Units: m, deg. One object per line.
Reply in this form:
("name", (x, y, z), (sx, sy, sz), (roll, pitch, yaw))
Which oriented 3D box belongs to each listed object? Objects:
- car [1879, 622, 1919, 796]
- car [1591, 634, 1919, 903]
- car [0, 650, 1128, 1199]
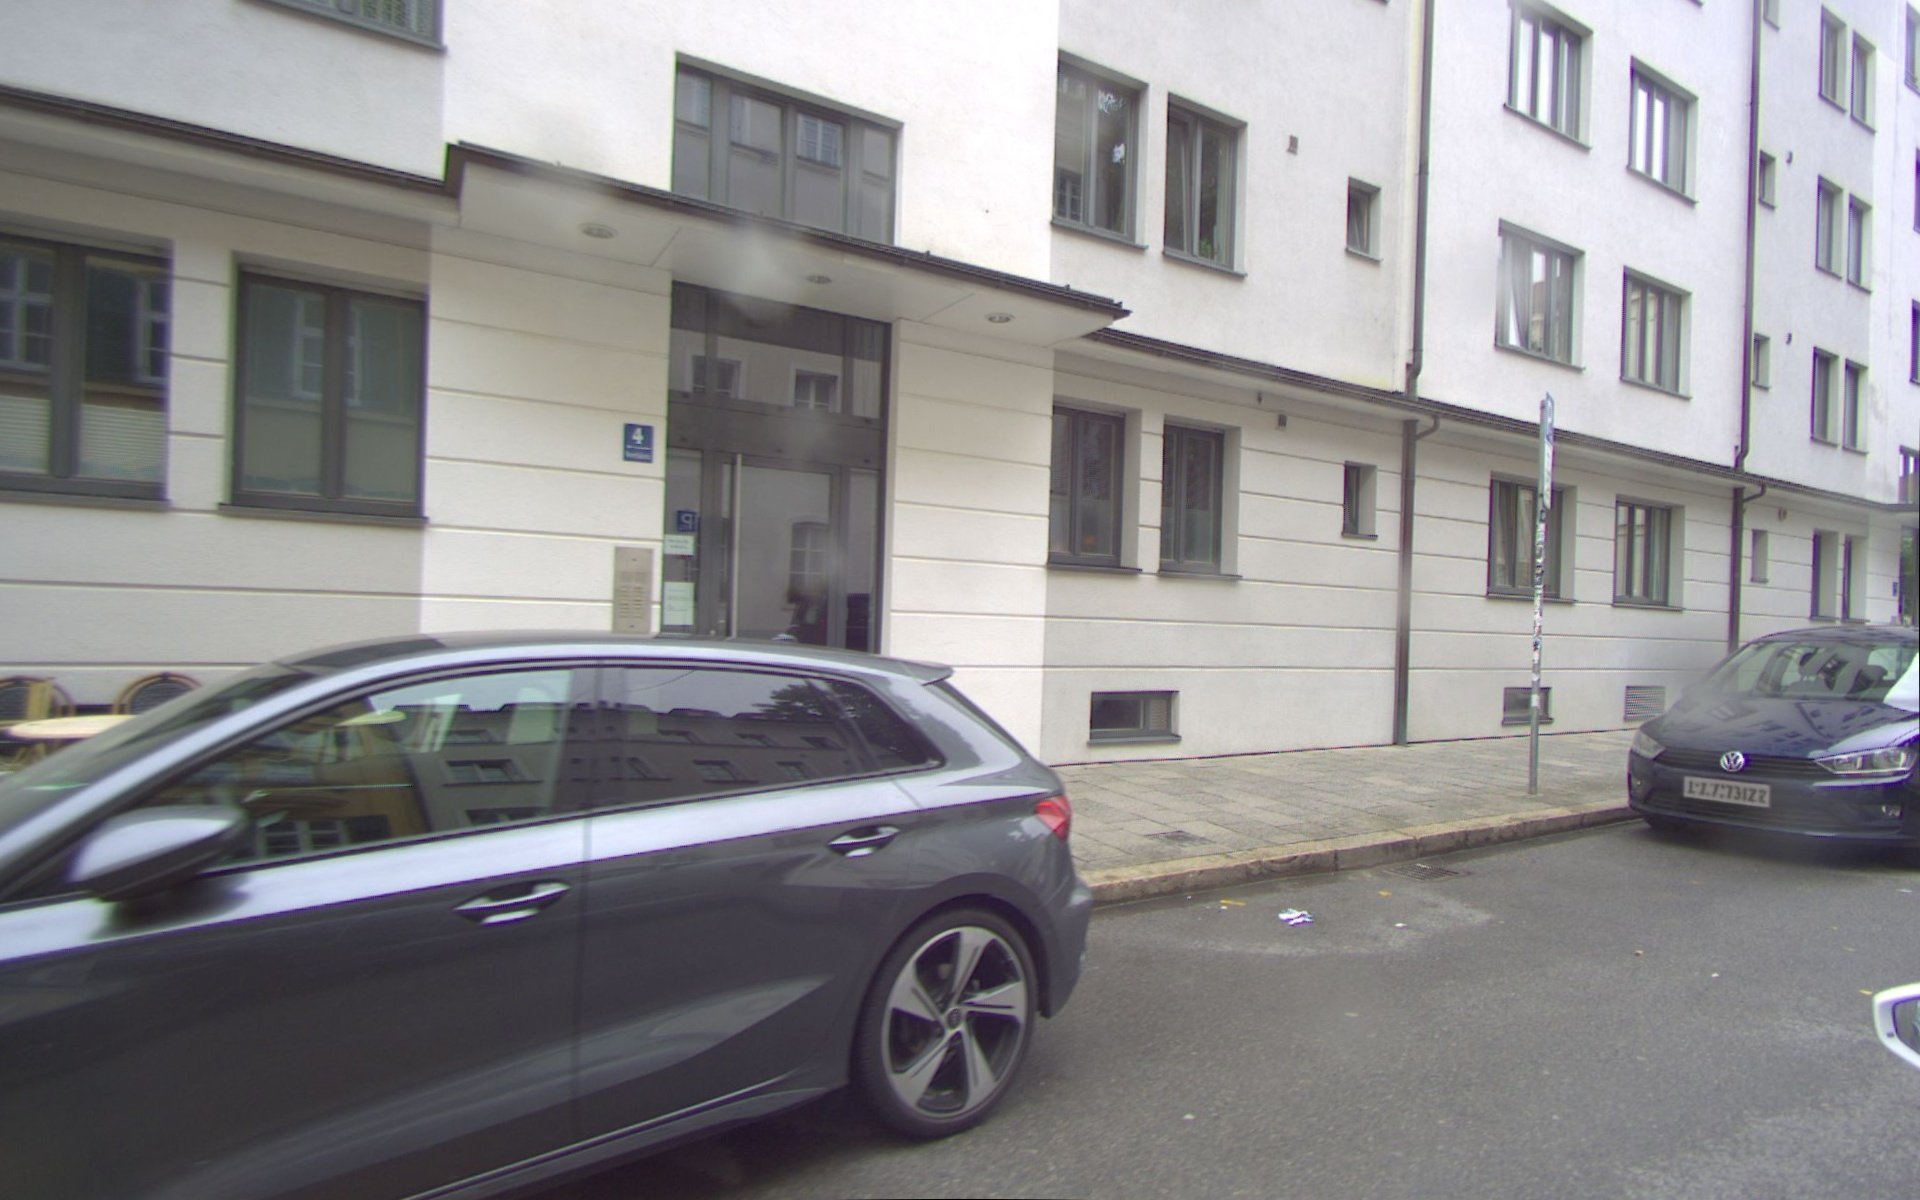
("car", (11.690, 1.088, 10.496), (4.468, 1.710, 1.863), (1, -2, -31))
("car", (6.857, 1.041, 7.689), (4.111, 1.559, 1.765), (1, -2, -31))
("car", (-1.530, 0.858, 2.775), (4.020, 1.372, 1.627), (1, -2, -37))
